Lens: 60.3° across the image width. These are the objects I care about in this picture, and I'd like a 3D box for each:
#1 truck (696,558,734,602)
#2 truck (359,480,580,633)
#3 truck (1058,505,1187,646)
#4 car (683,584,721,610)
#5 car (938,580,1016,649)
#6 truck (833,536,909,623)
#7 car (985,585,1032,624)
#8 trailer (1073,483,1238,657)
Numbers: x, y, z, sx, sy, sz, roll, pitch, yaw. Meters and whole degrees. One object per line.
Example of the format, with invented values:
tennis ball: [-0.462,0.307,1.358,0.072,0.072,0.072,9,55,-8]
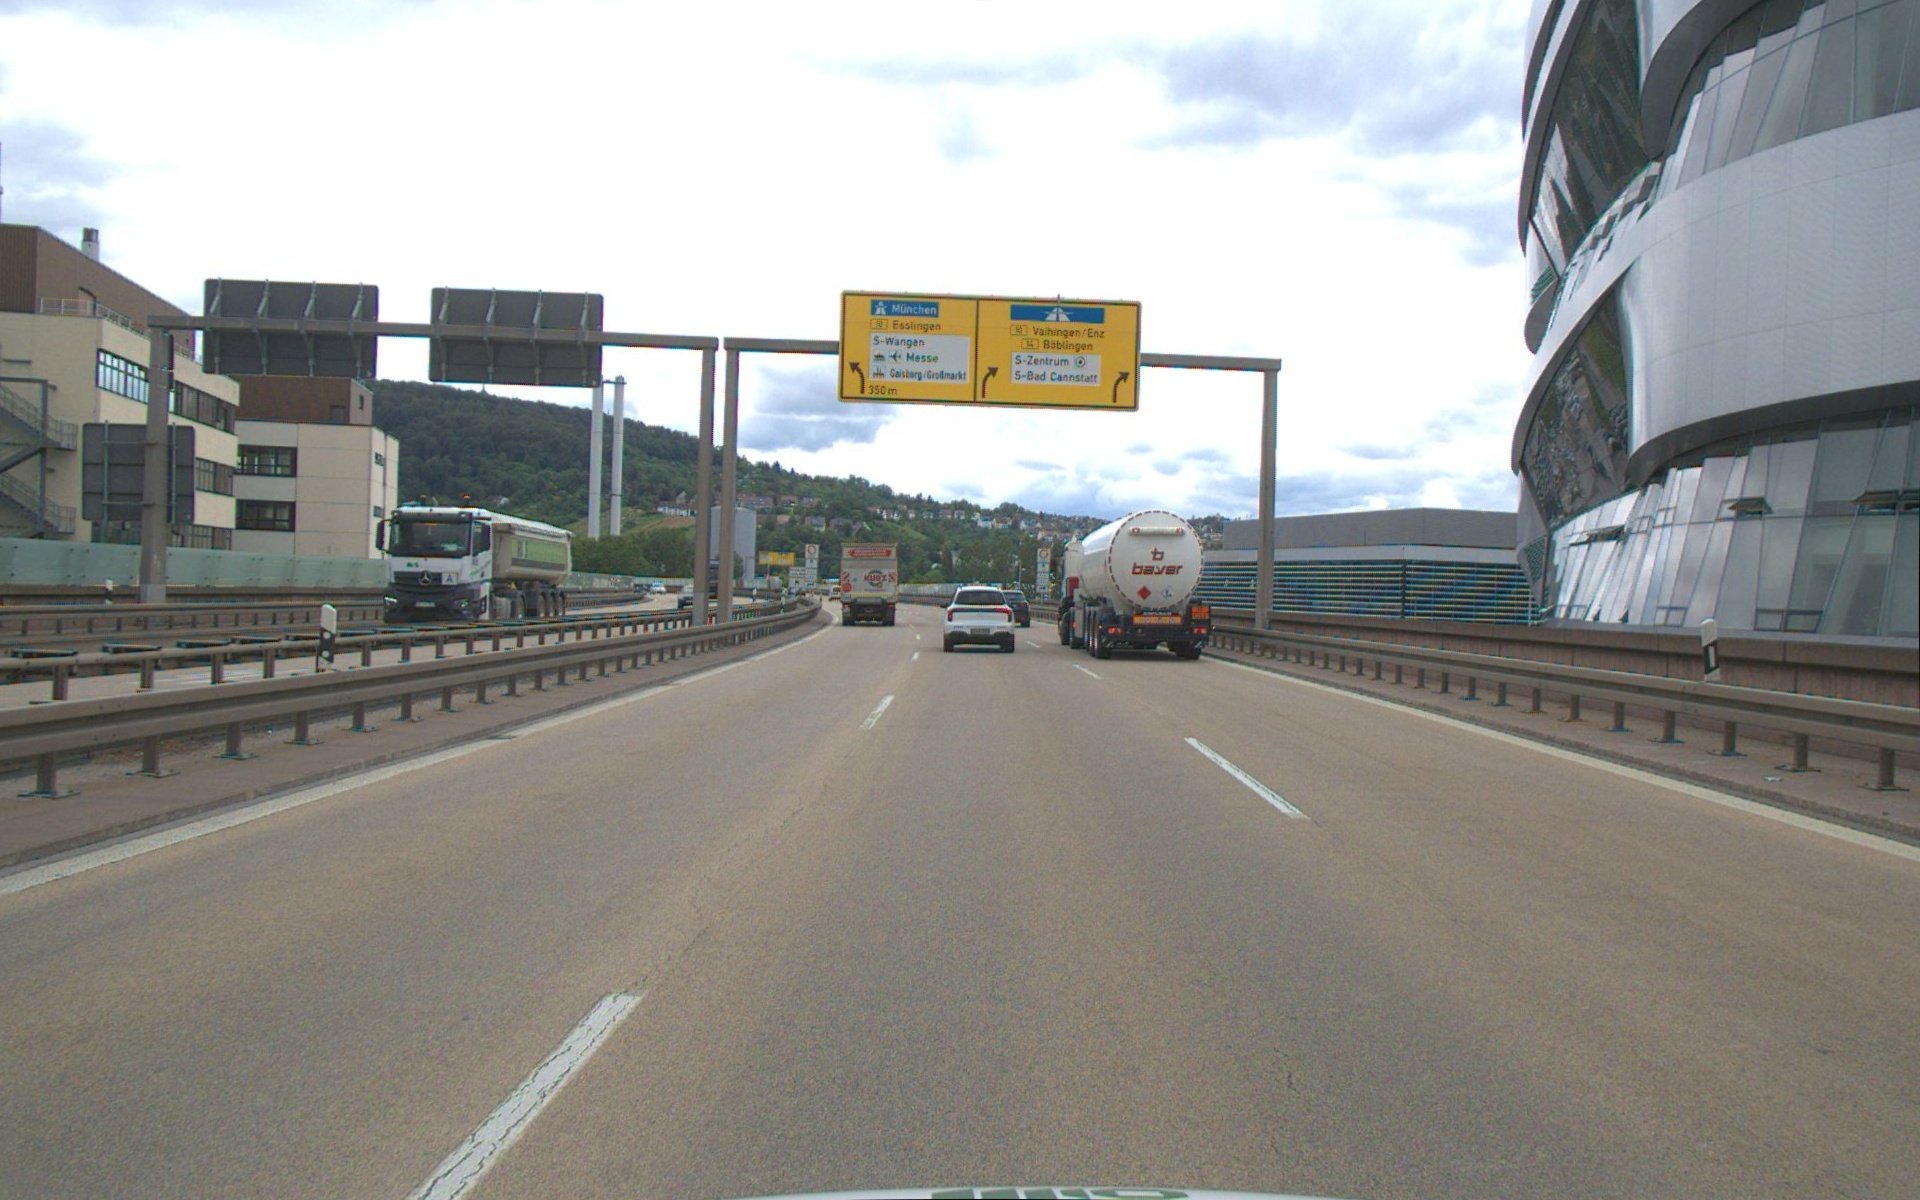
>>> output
truck: [-22.448,-1.742,152.251,2.756,3.876,12.005,1,0,-5]
truck: [-13.835,-1.078,48.100,2.995,3.842,12.514,0,0,-2]
truck: [4.513,-0.629,47.130,2.953,3.721,6.272,1,0,-1]
car: [-16.911,-0.175,108.559,1.954,1.704,4.405,1,0,-3]
car: [0.424,0.379,43.820,1.953,1.704,4.408,1,0,0]
truck: [-3.998,-0.870,75.950,2.994,3.755,8.303,0,0,0]
car: [2.182,0.191,75.213,1.953,1.704,4.407,1,0,0]
trailer: [4.658,-0.660,41.162,2.995,3.856,8.302,0,0,-1]
